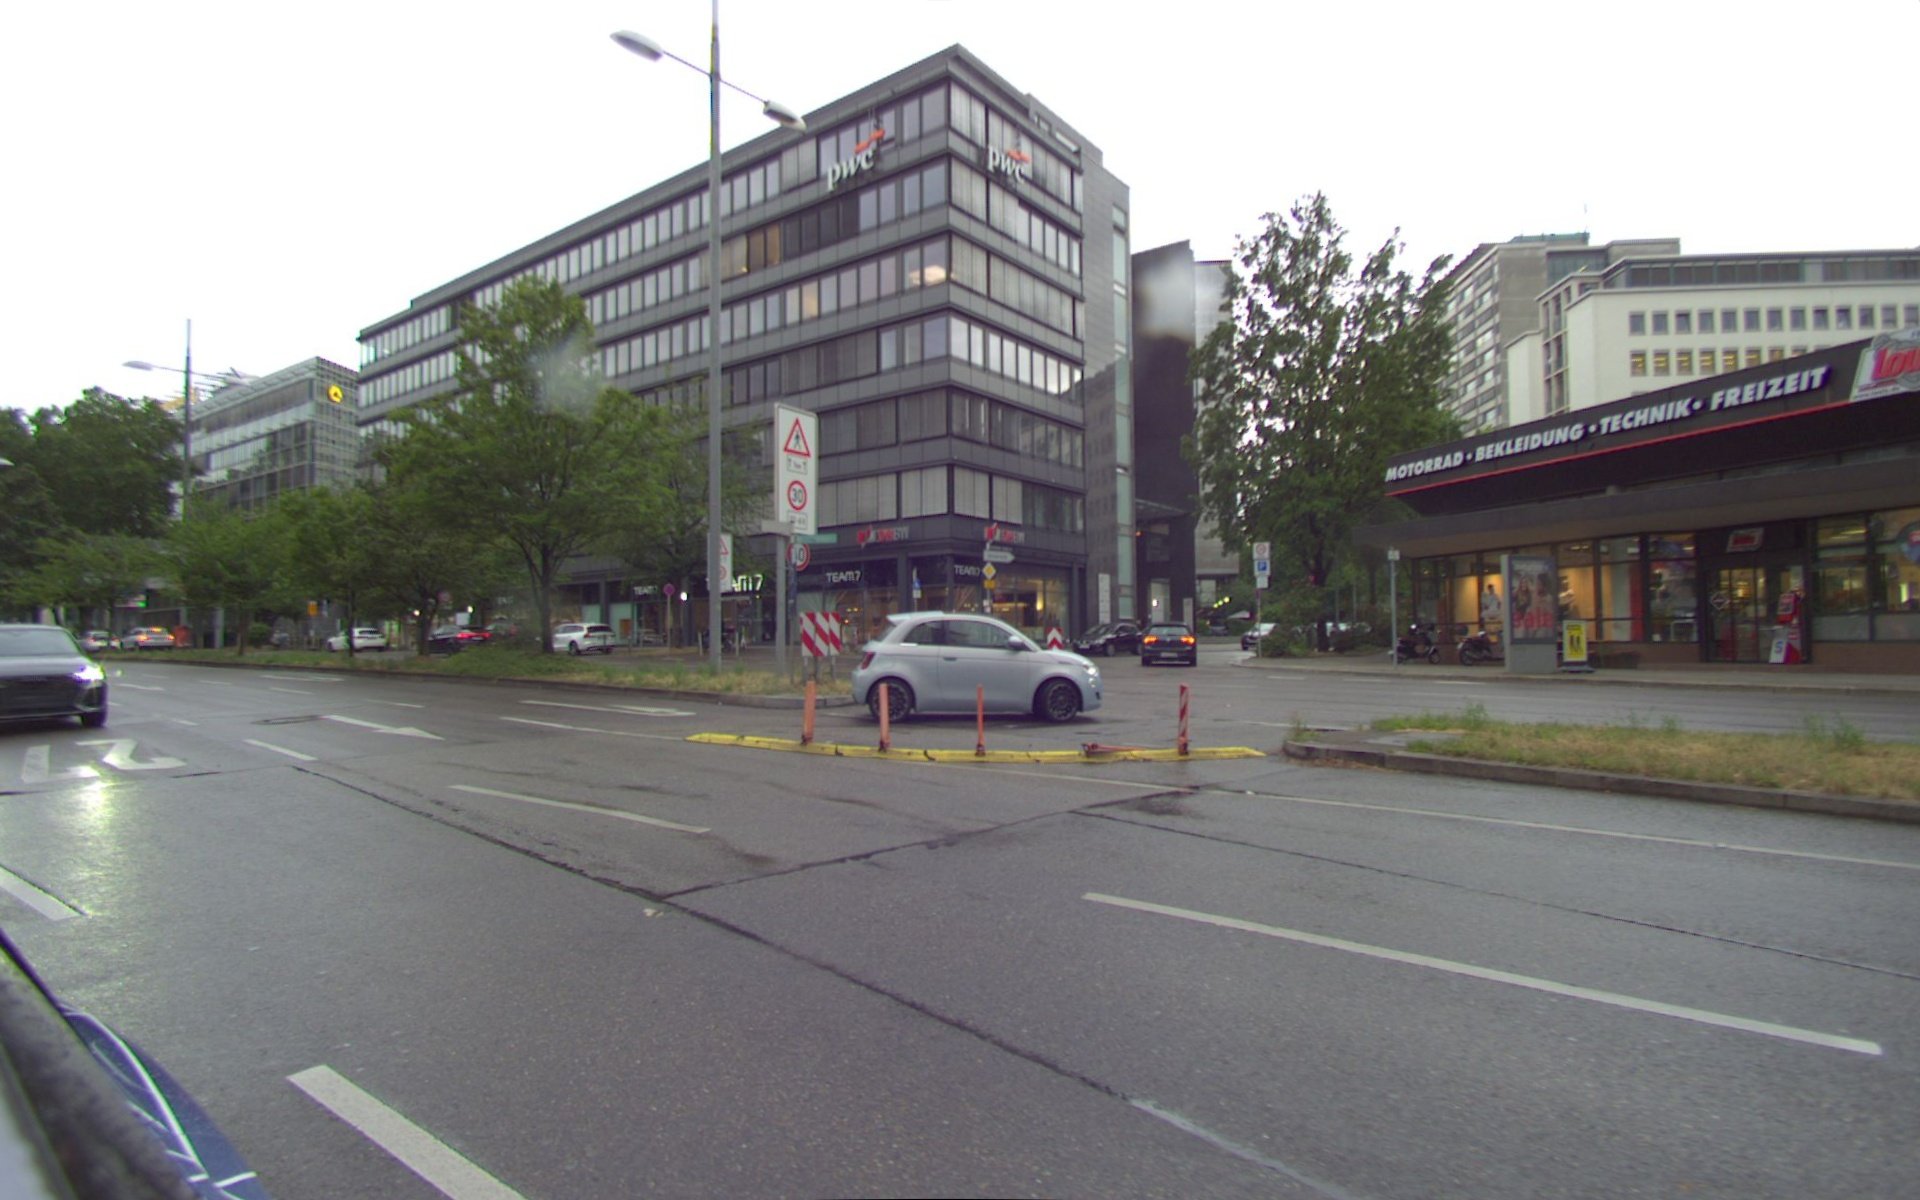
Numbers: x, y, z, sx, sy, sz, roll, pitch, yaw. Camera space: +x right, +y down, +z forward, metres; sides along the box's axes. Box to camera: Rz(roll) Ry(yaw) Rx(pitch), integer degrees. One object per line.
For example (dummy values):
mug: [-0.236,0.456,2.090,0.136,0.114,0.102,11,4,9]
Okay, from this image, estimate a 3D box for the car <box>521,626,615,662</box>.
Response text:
car: [-18.137,2.017,46.745,4.765,1.496,1.792,-2,1,38]

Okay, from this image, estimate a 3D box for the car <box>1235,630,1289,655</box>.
car: [17.988,2.496,60.152,1.844,1.298,3.950,-1,-1,37]

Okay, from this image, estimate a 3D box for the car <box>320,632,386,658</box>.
car: [-36.219,2.690,60.369,4.299,1.455,1.793,-2,-1,35]

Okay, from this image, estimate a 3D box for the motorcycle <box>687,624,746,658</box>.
motorcycle: [-10.572,1.784,43.983,2.344,1.404,0.857,-1,1,11]

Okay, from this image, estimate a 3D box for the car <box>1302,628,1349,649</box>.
car: [25.048,2.595,69.309,1.845,1.298,3.949,-1,-1,38]

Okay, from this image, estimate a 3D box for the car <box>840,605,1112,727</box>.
car: [0.193,0.909,14.493,3.638,1.585,1.789,-1,-2,-1]

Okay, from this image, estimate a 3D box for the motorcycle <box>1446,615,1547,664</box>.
motorcycle: [15.947,1.154,30.089,2.843,1.384,0.806,-1,-1,-16]

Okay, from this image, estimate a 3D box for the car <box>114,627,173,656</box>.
car: [-51.222,2.580,63.493,4.483,1.741,1.722,-2,-1,35]

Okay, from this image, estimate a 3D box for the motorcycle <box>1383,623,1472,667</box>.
motorcycle: [15.266,1.463,33.024,2.773,1.343,0.725,-1,-1,-14]

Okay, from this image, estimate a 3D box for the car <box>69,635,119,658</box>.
car: [-58.451,3.130,68.284,4.075,1.442,1.667,-2,-2,36]

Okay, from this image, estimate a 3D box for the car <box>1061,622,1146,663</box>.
car: [6.343,1.834,44.408,1.997,1.652,3.950,-1,-1,37]

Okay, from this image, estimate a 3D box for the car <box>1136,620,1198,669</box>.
car: [6.847,1.414,33.276,1.826,1.462,4.669,-1,-1,13]

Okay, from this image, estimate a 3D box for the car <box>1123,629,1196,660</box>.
car: [9.503,2.070,47.983,1.844,1.298,3.949,-1,-1,37]

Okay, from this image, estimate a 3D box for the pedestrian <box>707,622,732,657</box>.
pedestrian: [-11.651,1.919,49.046,0.964,1.650,0.776,-2,-2,37]

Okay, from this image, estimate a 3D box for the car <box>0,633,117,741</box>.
car: [-14.526,1.247,15.319,4.282,1.446,1.917,-2,-2,39]

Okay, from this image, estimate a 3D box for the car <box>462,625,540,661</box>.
car: [-22.958,2.145,50.540,4.305,1.673,1.791,-2,-1,39]

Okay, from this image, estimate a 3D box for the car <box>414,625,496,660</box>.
car: [-23.454,1.959,46.922,4.483,1.556,1.971,-2,-2,43]
